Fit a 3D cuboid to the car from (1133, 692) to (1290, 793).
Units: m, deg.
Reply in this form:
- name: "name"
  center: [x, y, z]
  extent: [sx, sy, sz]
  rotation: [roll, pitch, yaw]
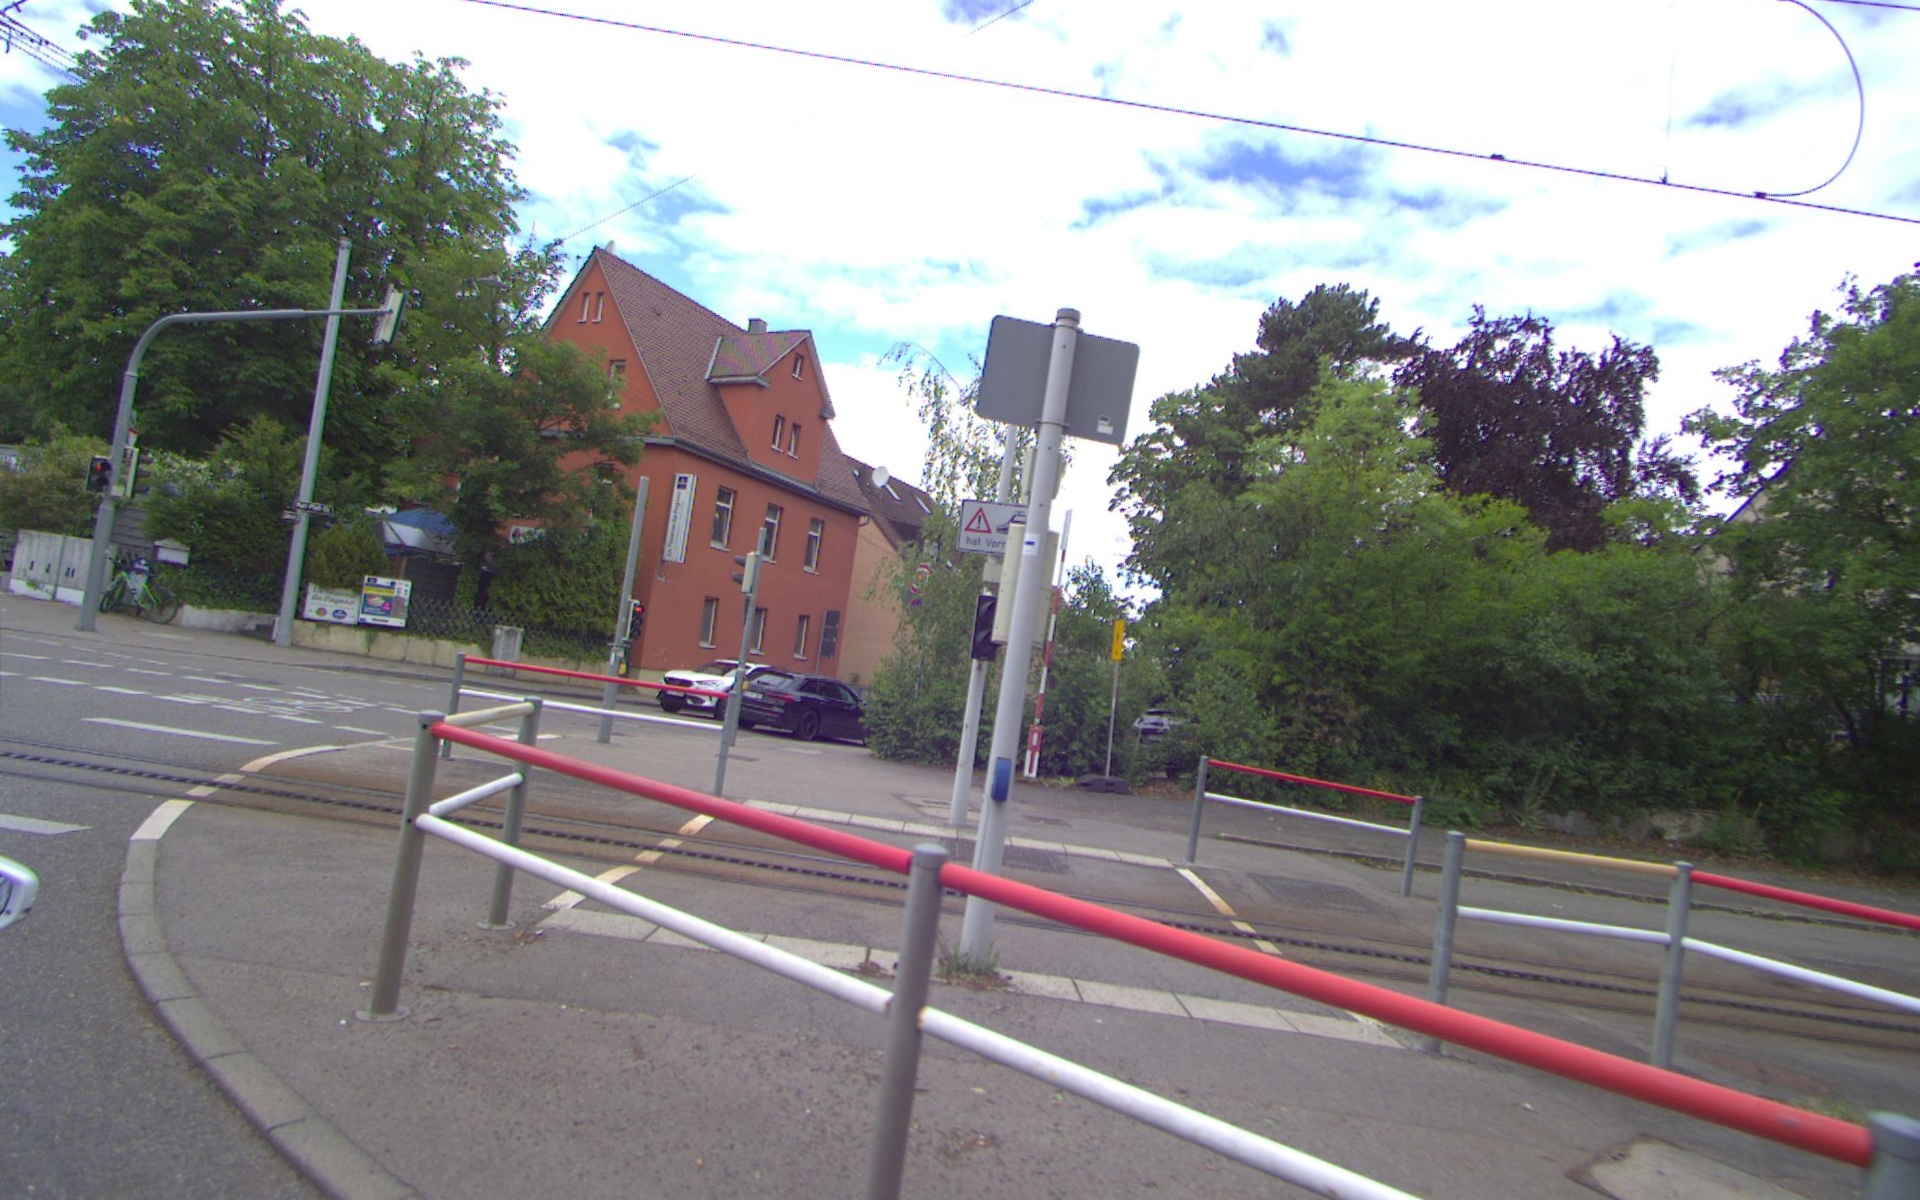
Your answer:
- name: "car"
  center: [5.078, 2.817, 19.828]
  extent: [1.965, 1.478, 4.524]
  rotation: [6, -5, 27]

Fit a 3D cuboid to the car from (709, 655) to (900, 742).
- name: "car"
  center: [-3.413, 2.331, 23.083]
  extent: [1.965, 1.478, 4.524]
  rotation: [6, -5, 27]

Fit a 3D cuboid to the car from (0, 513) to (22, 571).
- name: "car"
  center: [-29.864, -1.926, 29.303]
  extent: [1.827, 1.767, 4.677]
  rotation: [9, -3, -20]

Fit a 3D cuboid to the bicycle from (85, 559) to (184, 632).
- name: "bicycle"
  center: [-17.038, -0.097, 20.757]
  extent: [1.843, 1.151, 0.550]
  rotation: [11, -2, 20]

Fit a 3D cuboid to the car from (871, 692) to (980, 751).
- name: "car"
  center: [-1.080, 4.197, 34.287]
  extent: [1.963, 1.476, 4.533]
  rotation: [7, -7, 21]

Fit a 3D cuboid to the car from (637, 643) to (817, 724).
- name: "car"
  center: [-5.565, 2.124, 24.738]
  extent: [1.963, 1.478, 4.528]
  rotation: [7, -5, 21]
